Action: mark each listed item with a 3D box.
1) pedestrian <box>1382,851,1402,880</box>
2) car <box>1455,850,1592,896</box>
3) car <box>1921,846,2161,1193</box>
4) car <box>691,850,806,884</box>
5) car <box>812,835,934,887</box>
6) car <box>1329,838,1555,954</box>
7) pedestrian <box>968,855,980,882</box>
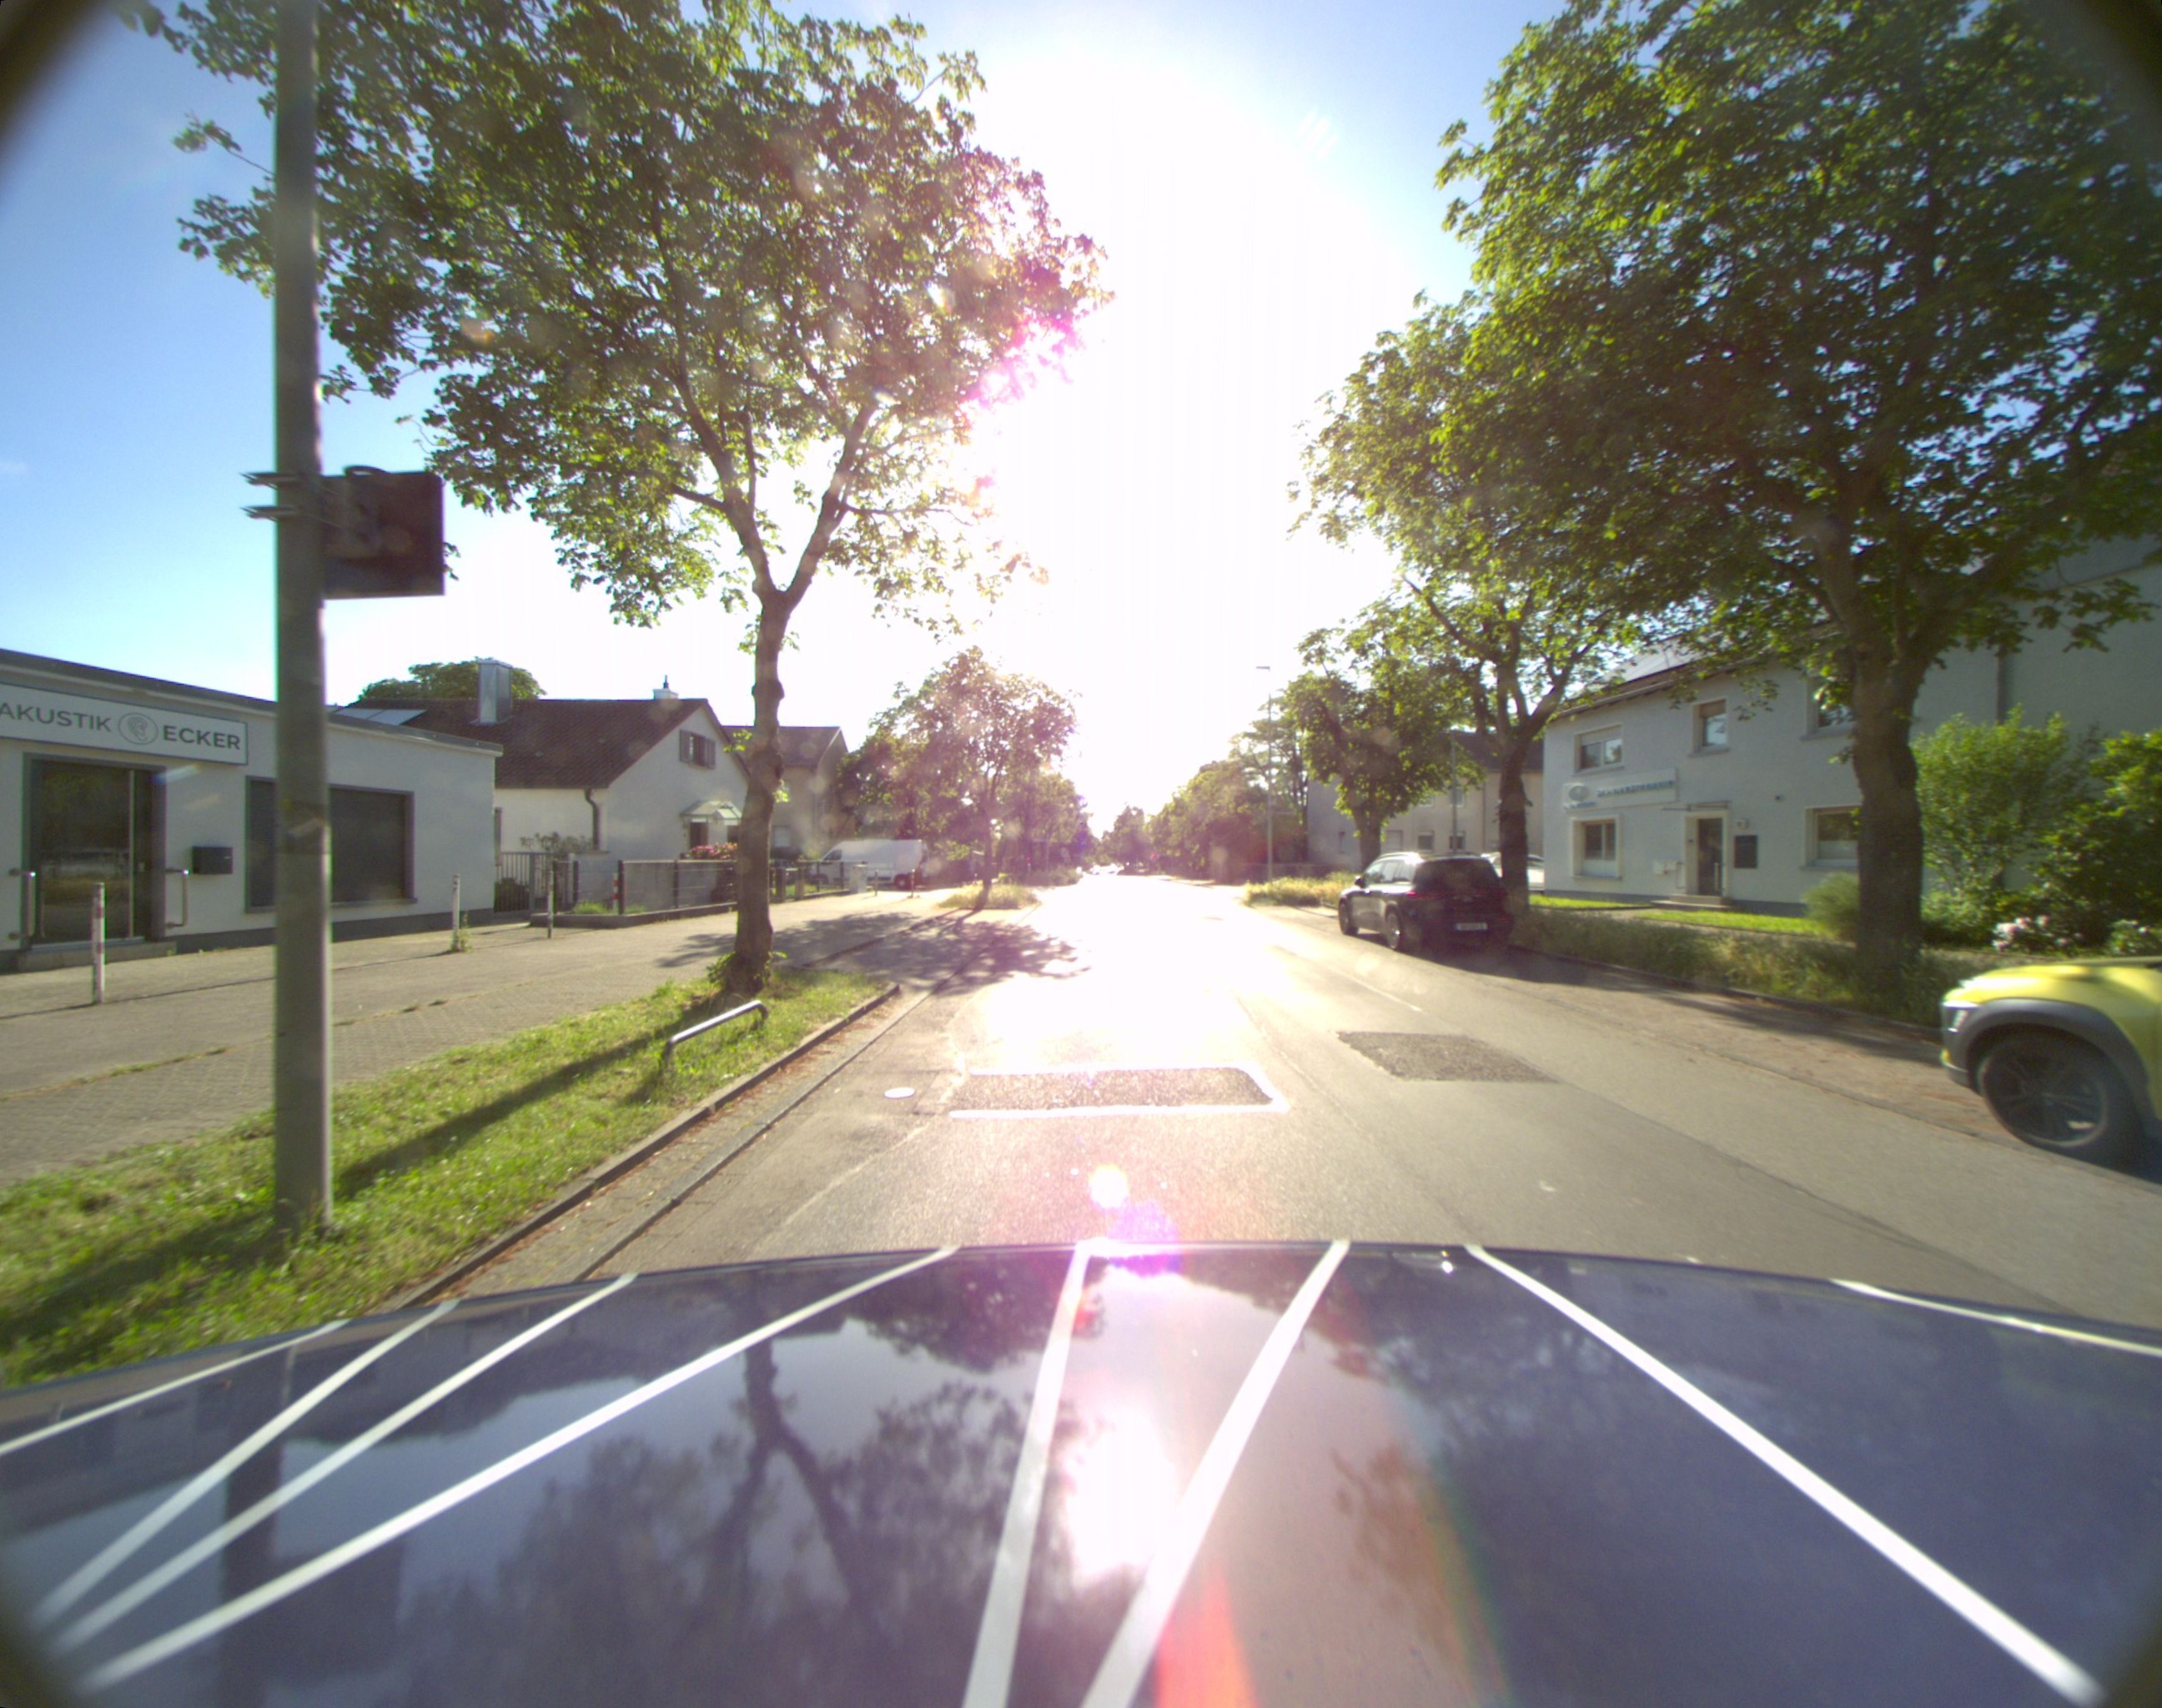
[{"bbox_3d":[16.831,0.621,41.145,0.785,1.544,0.639,-1,-1,-2],"label":"pedestrian"},{"bbox_3d":[18.250,0.814,31.488,4.501,1.826,2.001,1,-3,-2],"label":"car"},{"bbox_3d":[5.971,0.789,2.371,1.943,1.599,4.383,-1,1,2],"label":"car"},{"bbox_3d":[-16.662,0.668,38.287,4.753,1.572,2.285,-1,-1,-2],"label":"car"},{"bbox_3d":[-10.470,0.356,38.607,5.610,2.524,2.266,1,0,-2],"label":"car"},{"bbox_3d":[6.252,0.664,13.923,1.958,1.716,4.876,-1,-1,2],"label":"car"},{"bbox_3d":[-7.033,0.953,49.979,0.638,1.695,0.612,3,-1,0],"label":"pedestrian"}]
